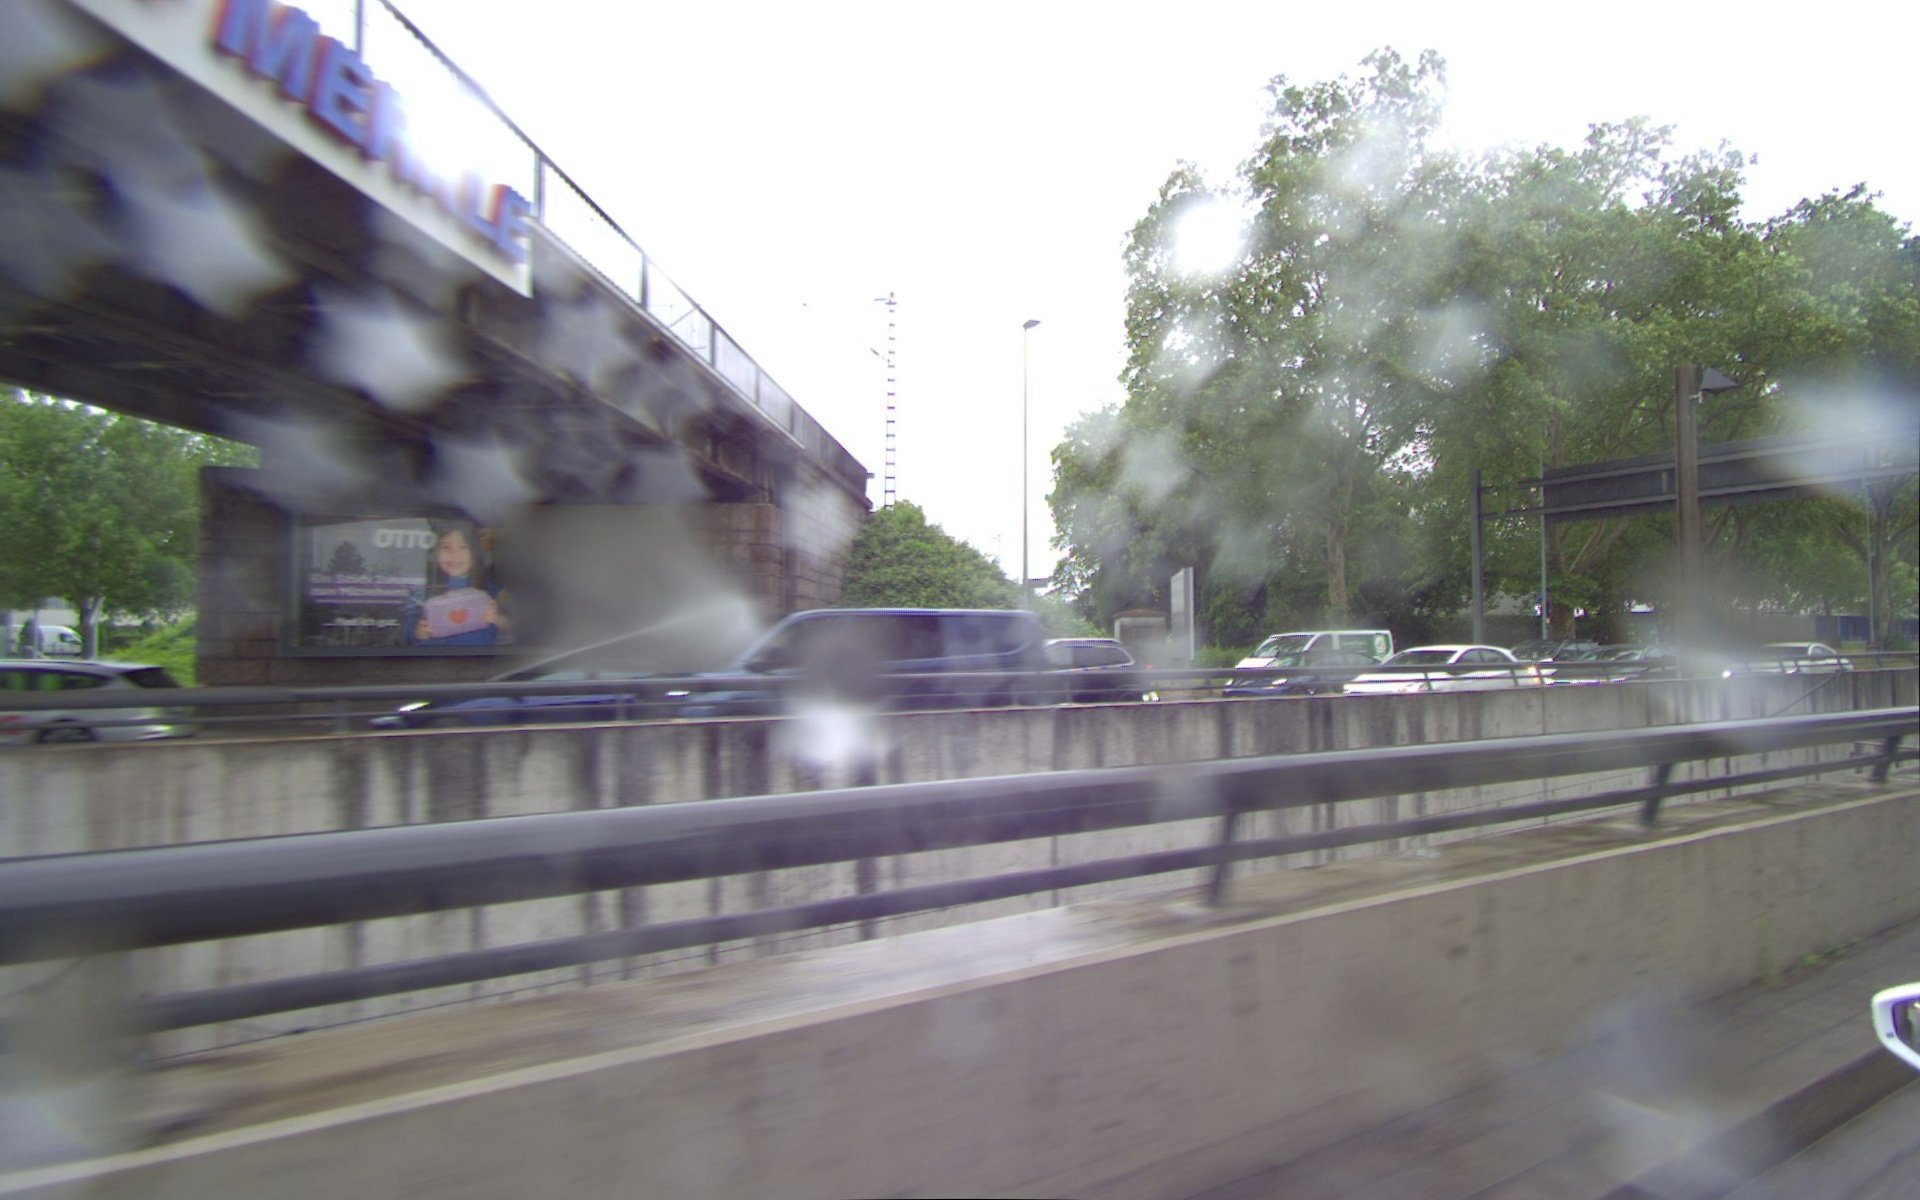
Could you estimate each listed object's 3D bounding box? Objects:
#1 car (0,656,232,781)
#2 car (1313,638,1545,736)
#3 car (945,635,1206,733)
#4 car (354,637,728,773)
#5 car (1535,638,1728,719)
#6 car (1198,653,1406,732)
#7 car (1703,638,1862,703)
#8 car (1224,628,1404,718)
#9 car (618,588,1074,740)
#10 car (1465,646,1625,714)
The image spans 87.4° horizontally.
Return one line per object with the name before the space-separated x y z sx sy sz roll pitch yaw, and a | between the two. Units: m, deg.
car | -13.032 1.578 13.831 4.449 1.594 1.977 1 -3 -21
car | 8.817 1.558 18.861 4.039 1.653 1.985 1 -3 -30
car | 2.171 1.477 18.513 4.557 1.594 1.970 2 -3 -31
car | -5.698 1.331 13.858 4.498 1.594 1.970 2 -3 -31
car | 15.075 1.691 22.545 4.039 1.653 1.985 1 -3 -30
car | 7.676 1.986 22.457 4.498 1.594 1.970 2 -3 -31
car | 22.448 1.863 27.380 4.529 1.653 1.983 1 -3 -32
car | 9.429 1.885 26.682 4.789 2.198 1.747 1 -3 -29
car | -1.334 0.783 12.822 5.475 1.594 1.970 2 -3 -31
car | 15.355 2.038 26.334 4.039 1.653 1.839 1 -3 -30
